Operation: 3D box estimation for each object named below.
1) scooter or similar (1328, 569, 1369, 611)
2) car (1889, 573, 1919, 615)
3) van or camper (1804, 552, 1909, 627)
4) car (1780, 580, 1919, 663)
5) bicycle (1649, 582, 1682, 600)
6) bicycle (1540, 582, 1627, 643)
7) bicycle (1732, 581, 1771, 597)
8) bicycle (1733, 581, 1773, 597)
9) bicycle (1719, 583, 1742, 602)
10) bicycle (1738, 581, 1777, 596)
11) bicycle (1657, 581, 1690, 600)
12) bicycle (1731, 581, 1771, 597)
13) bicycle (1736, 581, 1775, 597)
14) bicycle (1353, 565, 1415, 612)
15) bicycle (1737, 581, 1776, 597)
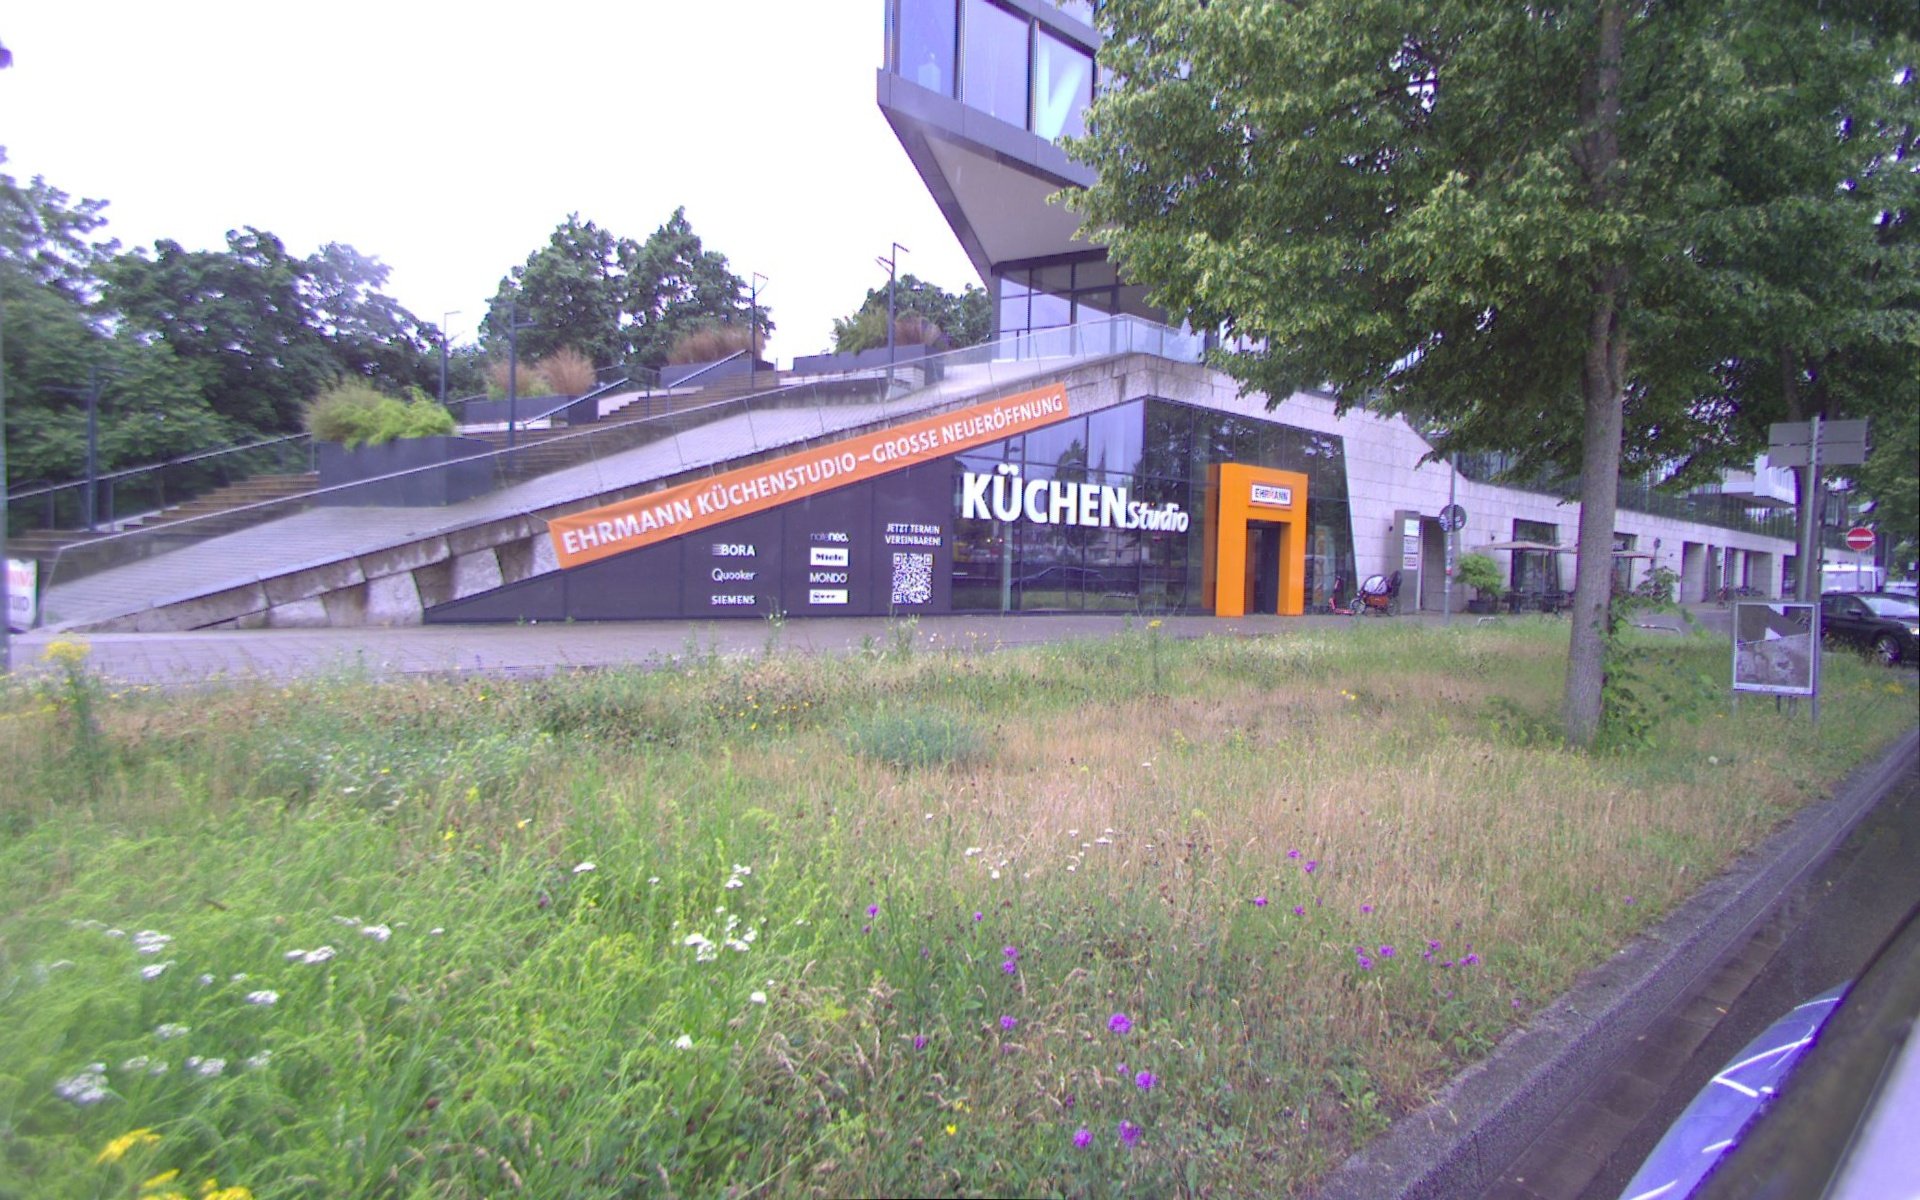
[{"bbox_3d":[11.760,-0.300,30.622,1.214,1.243,0.343,-1,0,-22],"label":"scooter or similar"},{"bbox_3d":[43.488,-0.298,45.752,4.766,1.781,1.744,-1,2,-42],"label":"car"},{"bbox_3d":[30.120,-0.390,33.929,5.367,2.320,2.028,-1,2,-42],"label":"van or camper"},{"bbox_3d":[18.609,0.363,20.070,1.804,1.437,4.332,1,2,12],"label":"car"},{"bbox_3d":[36.624,-0.473,52.532,0.388,0.958,2.028,-1,1,4],"label":"bicycle"},{"bbox_3d":[14.595,0.267,23.758,0.521,1.363,1.852,2,1,-16],"label":"bicycle"},{"bbox_3d":[53.096,-0.744,67.893,0.389,0.957,2.025,-1,4,-45],"label":"bicycle"},{"bbox_3d":[53.511,-0.751,68.305,0.389,0.957,2.025,-1,4,-45],"label":"bicycle"},{"bbox_3d":[40.210,-0.378,52.799,1.823,0.957,0.403,-1,2,-34],"label":"bicycle"},{"bbox_3d":[54.813,-0.782,69.547,0.389,0.957,2.025,-1,4,-45],"label":"bicycle"},{"bbox_3d":[37.245,-0.486,52.859,0.388,0.958,2.028,-1,1,4],"label":"bicycle"},{"bbox_3d":[52.617,-0.732,67.363,0.389,0.957,2.025,-1,4,-45],"label":"bicycle"},{"bbox_3d":[53.946,-0.770,68.676,0.389,0.957,2.025,-1,4,-45],"label":"bicycle"},{"bbox_3d":[13.302,-0.360,31.728,2.382,1.419,0.734,0,3,-41],"label":"bicycle"},{"bbox_3d":[54.299,-0.774,69.044,0.389,0.957,2.025,-1,4,-45],"label":"bicycle"}]
